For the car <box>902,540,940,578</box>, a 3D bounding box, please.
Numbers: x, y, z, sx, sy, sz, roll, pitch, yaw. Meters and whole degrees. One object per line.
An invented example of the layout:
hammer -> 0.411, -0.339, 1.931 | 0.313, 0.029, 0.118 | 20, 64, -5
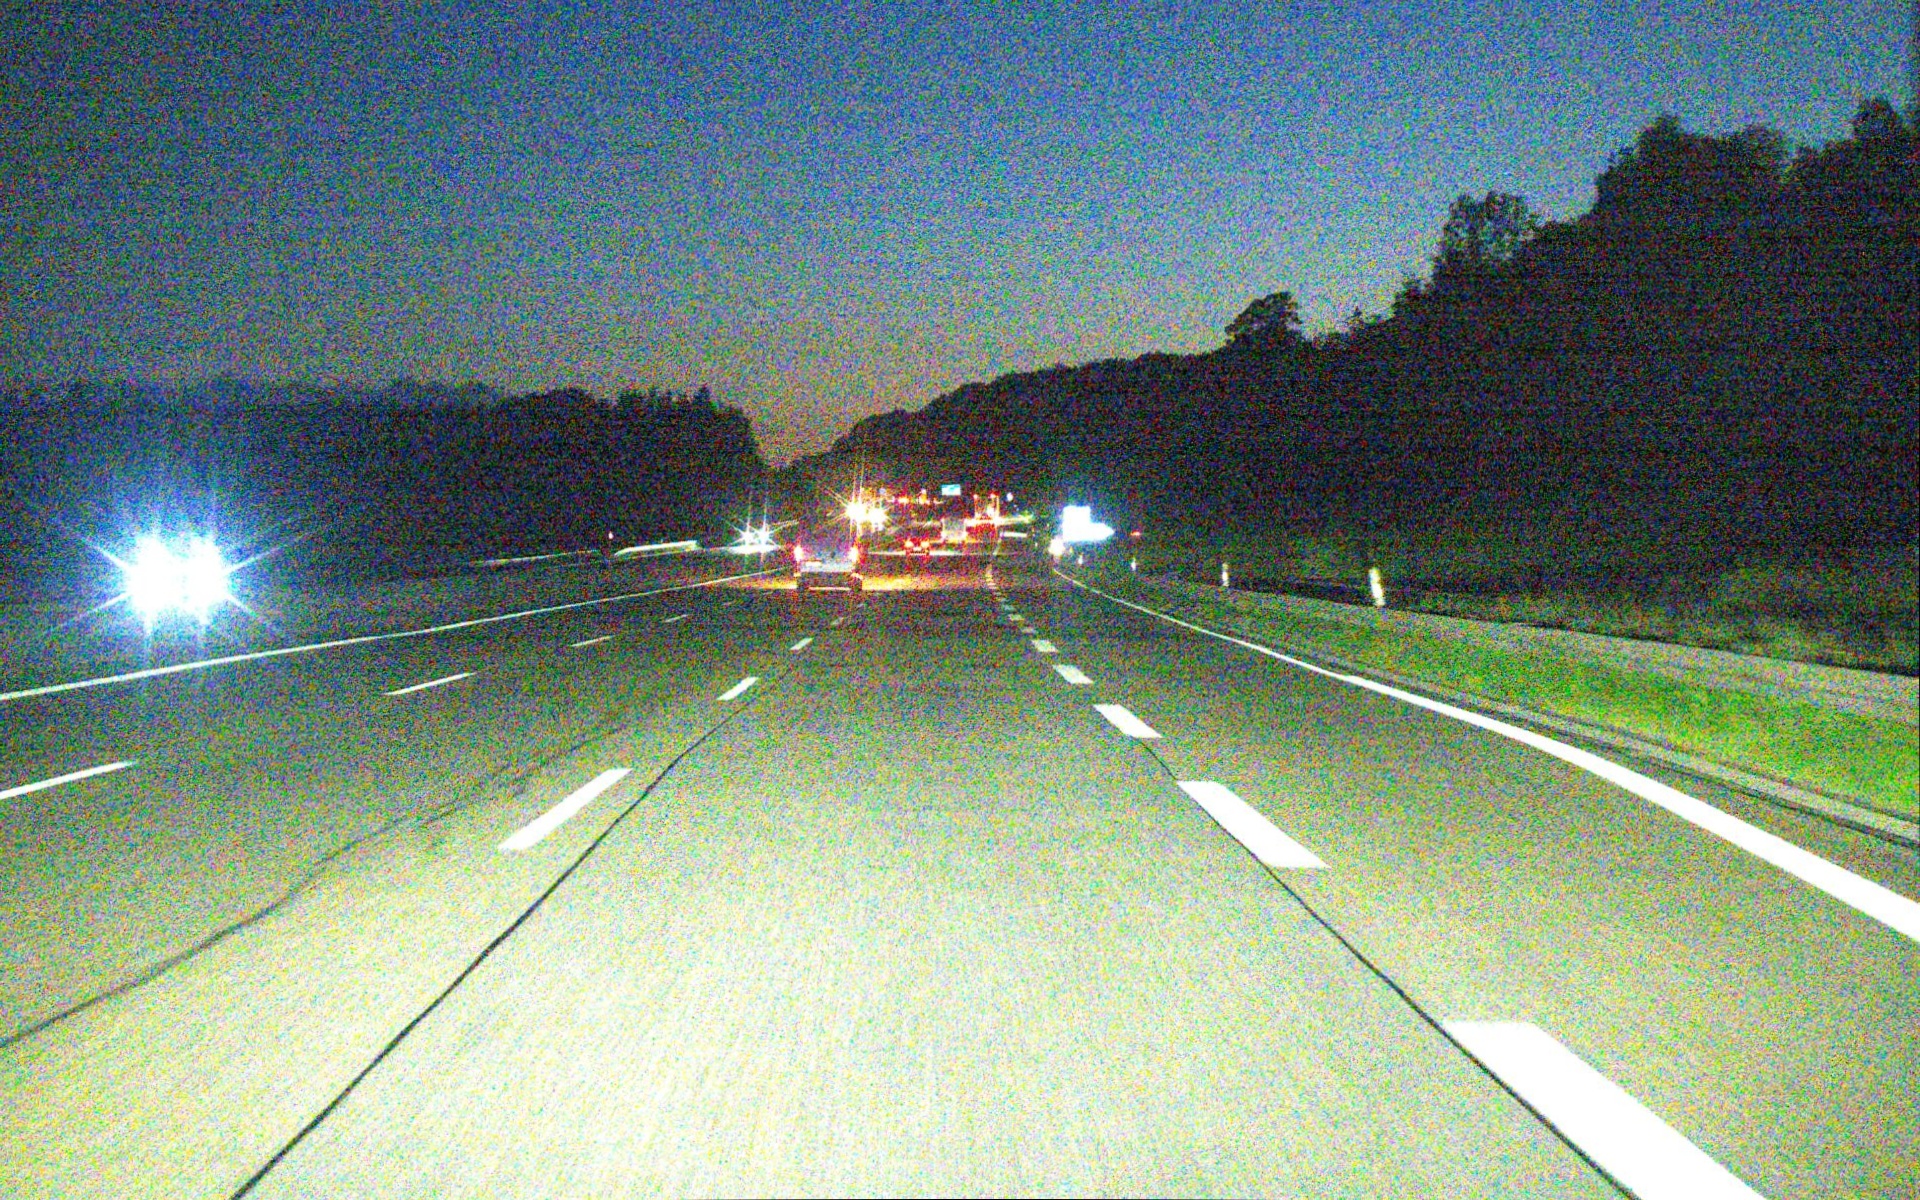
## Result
car -> -2.949, -3.087, 258.757 | 2.786, 2.724, 6.299 | 0, 0, -1

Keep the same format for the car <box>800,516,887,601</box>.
car -> -3.908, -1.340, 114.172 | 2.786, 2.724, 6.299 | 0, 0, -3

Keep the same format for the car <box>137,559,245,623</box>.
car -> -22.011, -0.283, 98.556 | 1.993, 1.739, 5.072 | 1, 1, -1
